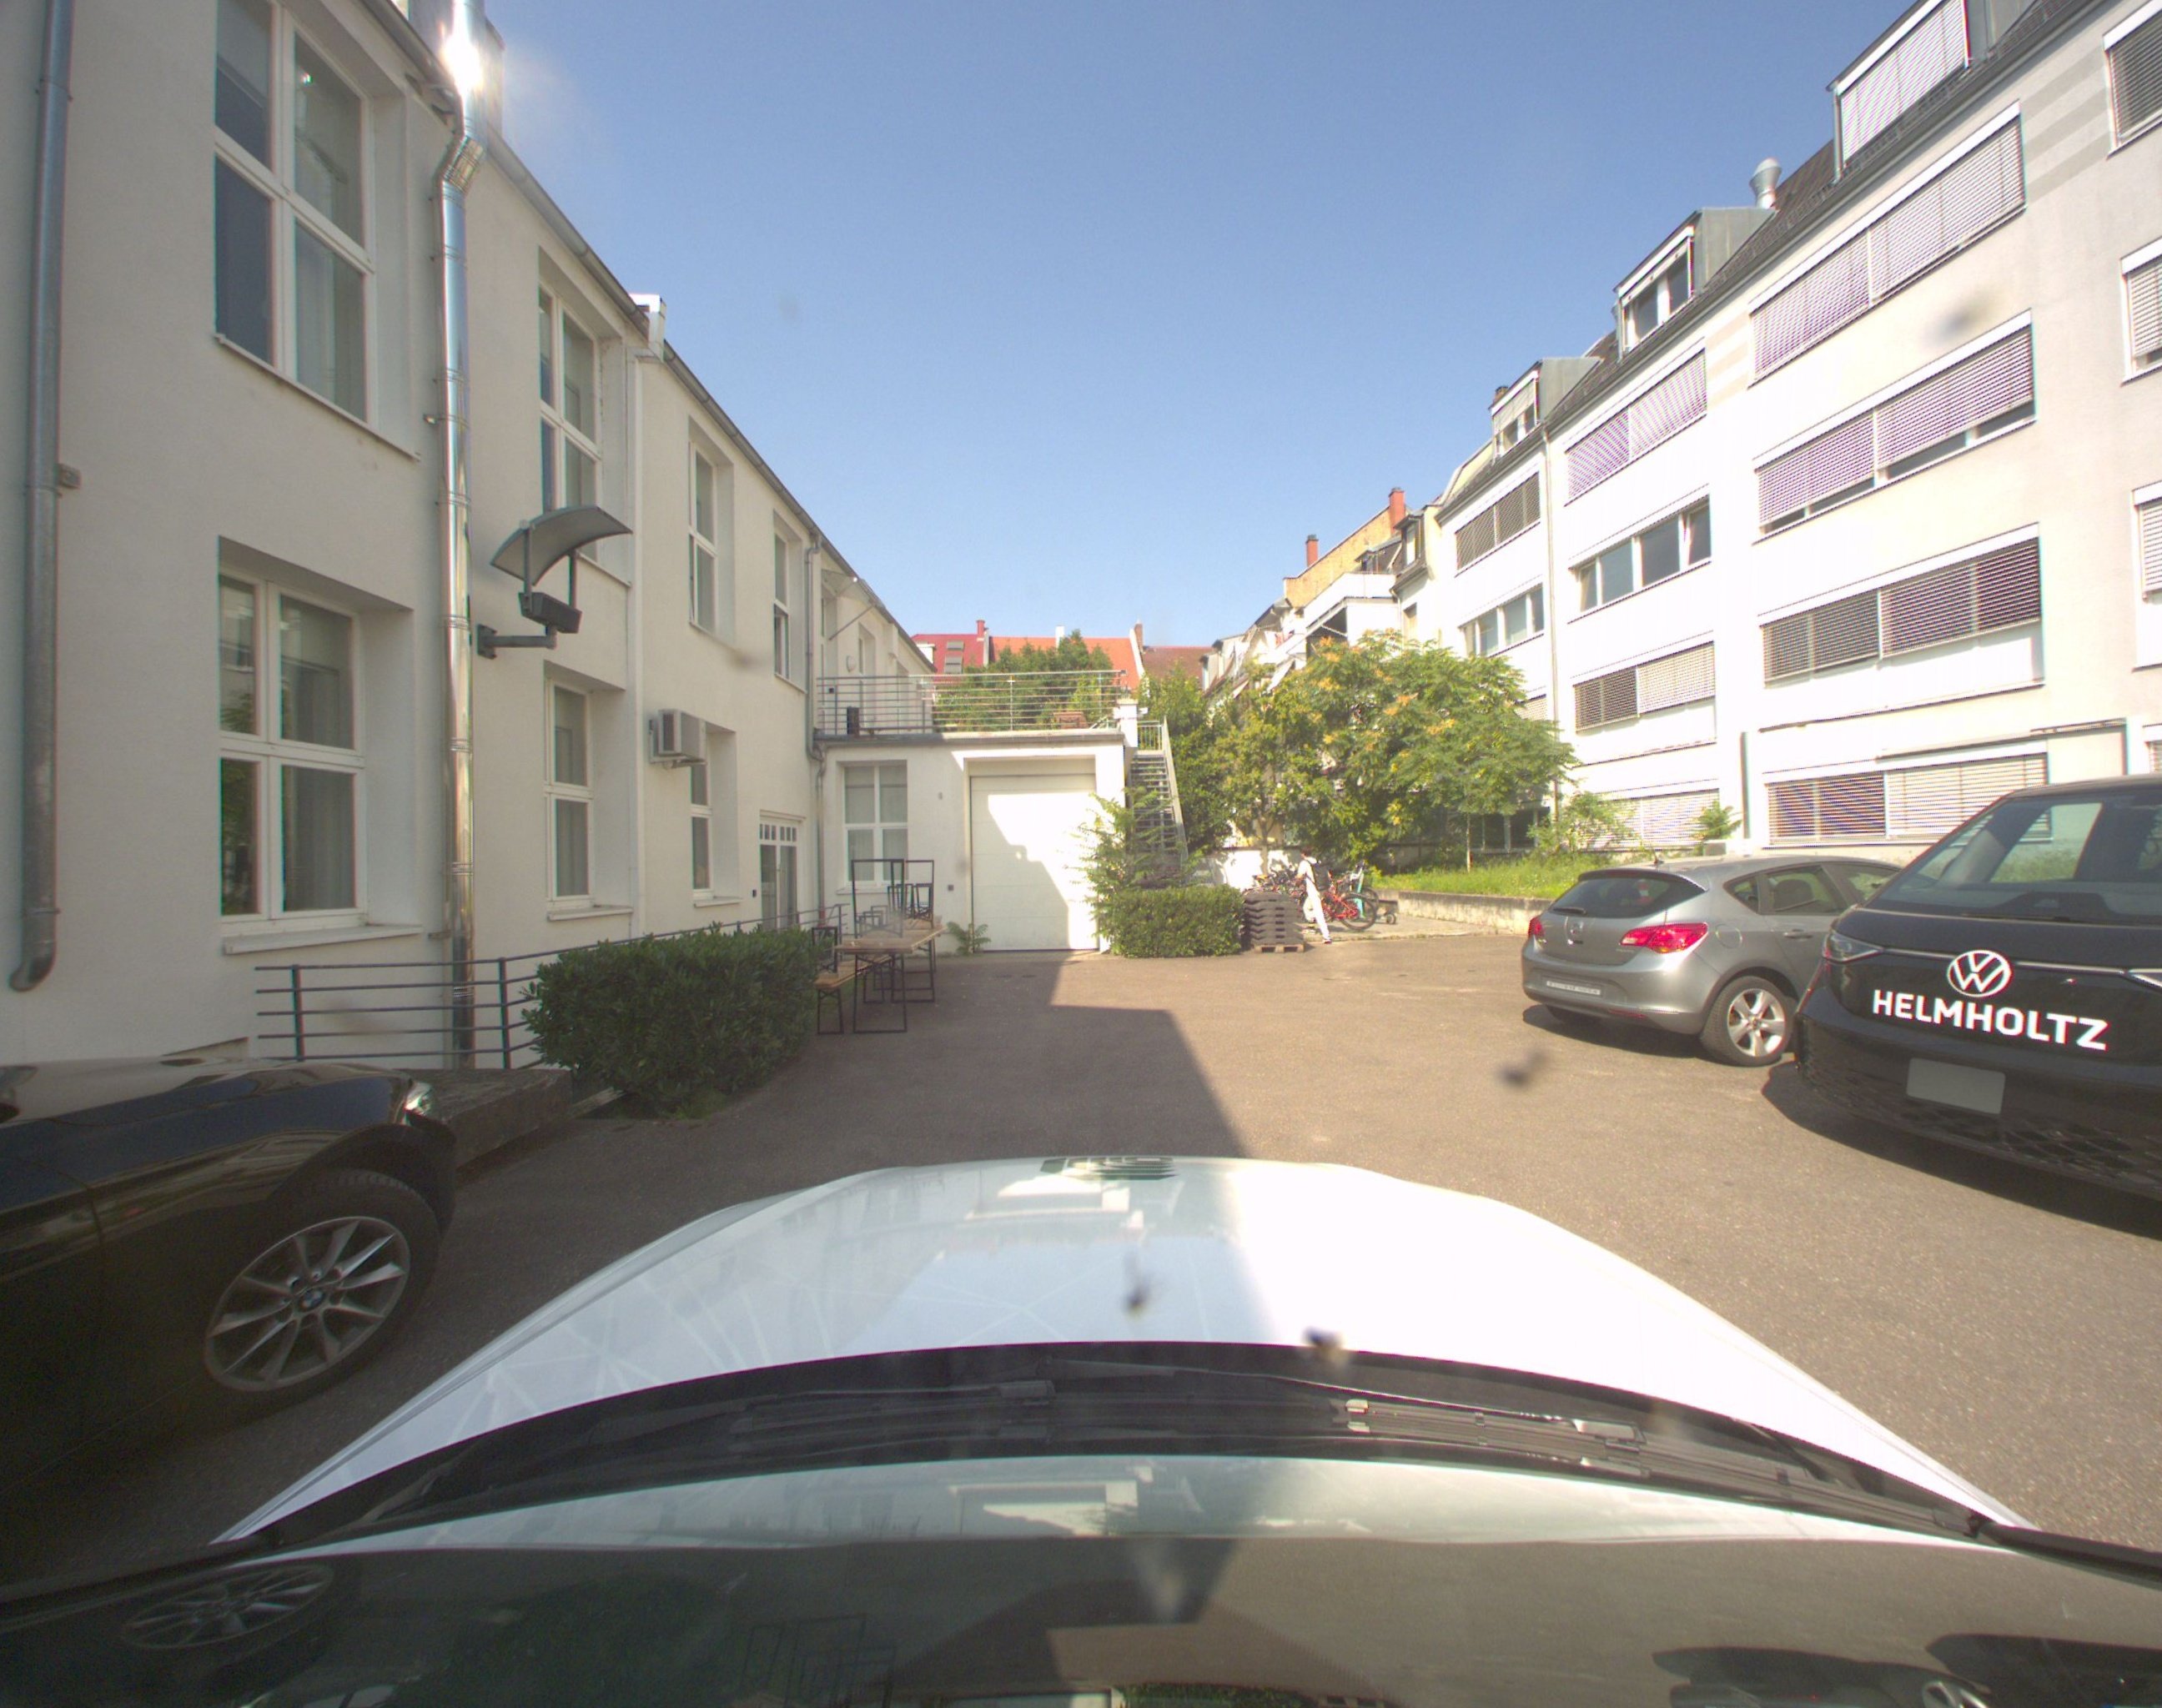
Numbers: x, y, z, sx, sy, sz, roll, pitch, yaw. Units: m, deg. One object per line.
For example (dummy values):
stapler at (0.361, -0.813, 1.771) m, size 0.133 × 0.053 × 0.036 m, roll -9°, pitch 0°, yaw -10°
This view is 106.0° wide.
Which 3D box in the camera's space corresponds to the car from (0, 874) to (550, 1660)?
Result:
car at (-2.890, 0.786, 1.046) m, size 1.788 × 1.428 × 4.133 m, roll -1°, pitch 0°, yaw -2°

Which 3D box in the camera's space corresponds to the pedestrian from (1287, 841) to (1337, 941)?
pedestrian at (4.254, 0.654, 14.988) m, size 0.603 × 1.772 × 0.866 m, roll -1°, pitch -1°, yaw 37°

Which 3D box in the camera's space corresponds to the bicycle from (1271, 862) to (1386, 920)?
bicycle at (5.478, 0.808, 18.096) m, size 2.403 × 1.246 × 0.526 m, roll -1°, pitch -1°, yaw 0°

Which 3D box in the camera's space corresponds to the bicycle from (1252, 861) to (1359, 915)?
bicycle at (5.360, 0.813, 19.510) m, size 2.403 × 1.246 × 0.526 m, roll -1°, pitch -1°, yaw 0°

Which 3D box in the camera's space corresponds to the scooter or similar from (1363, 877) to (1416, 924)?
scooter or similar at (6.374, 0.945, 16.850) m, size 0.362 × 0.924 × 0.988 m, roll 0°, pitch -1°, yaw -37°

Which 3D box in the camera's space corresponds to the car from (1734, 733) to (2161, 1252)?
car at (5.898, 0.440, 3.894) m, size 4.334 × 1.859 × 1.909 m, roll -2°, pitch 0°, yaw -9°

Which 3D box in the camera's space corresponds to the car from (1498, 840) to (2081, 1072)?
car at (5.728, 0.683, 6.732) m, size 3.900 × 1.466 × 1.655 m, roll -2°, pitch 0°, yaw -13°

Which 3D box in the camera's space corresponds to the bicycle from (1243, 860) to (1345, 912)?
bicycle at (5.273, 0.795, 20.225) m, size 2.403 × 1.246 × 0.526 m, roll -1°, pitch -1°, yaw 0°

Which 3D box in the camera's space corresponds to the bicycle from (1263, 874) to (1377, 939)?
bicycle at (4.490, 0.974, 15.393) m, size 1.968 × 1.143 × 0.493 m, roll -2°, pitch 0°, yaw 34°

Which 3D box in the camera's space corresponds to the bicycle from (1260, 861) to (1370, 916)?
bicycle at (5.408, 0.795, 18.893) m, size 2.403 × 1.246 × 0.526 m, roll -1°, pitch -1°, yaw 0°

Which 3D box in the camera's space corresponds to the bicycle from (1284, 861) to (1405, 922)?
bicycle at (5.625, 0.790, 17.432) m, size 2.403 × 1.246 × 0.526 m, roll -1°, pitch -1°, yaw 0°
